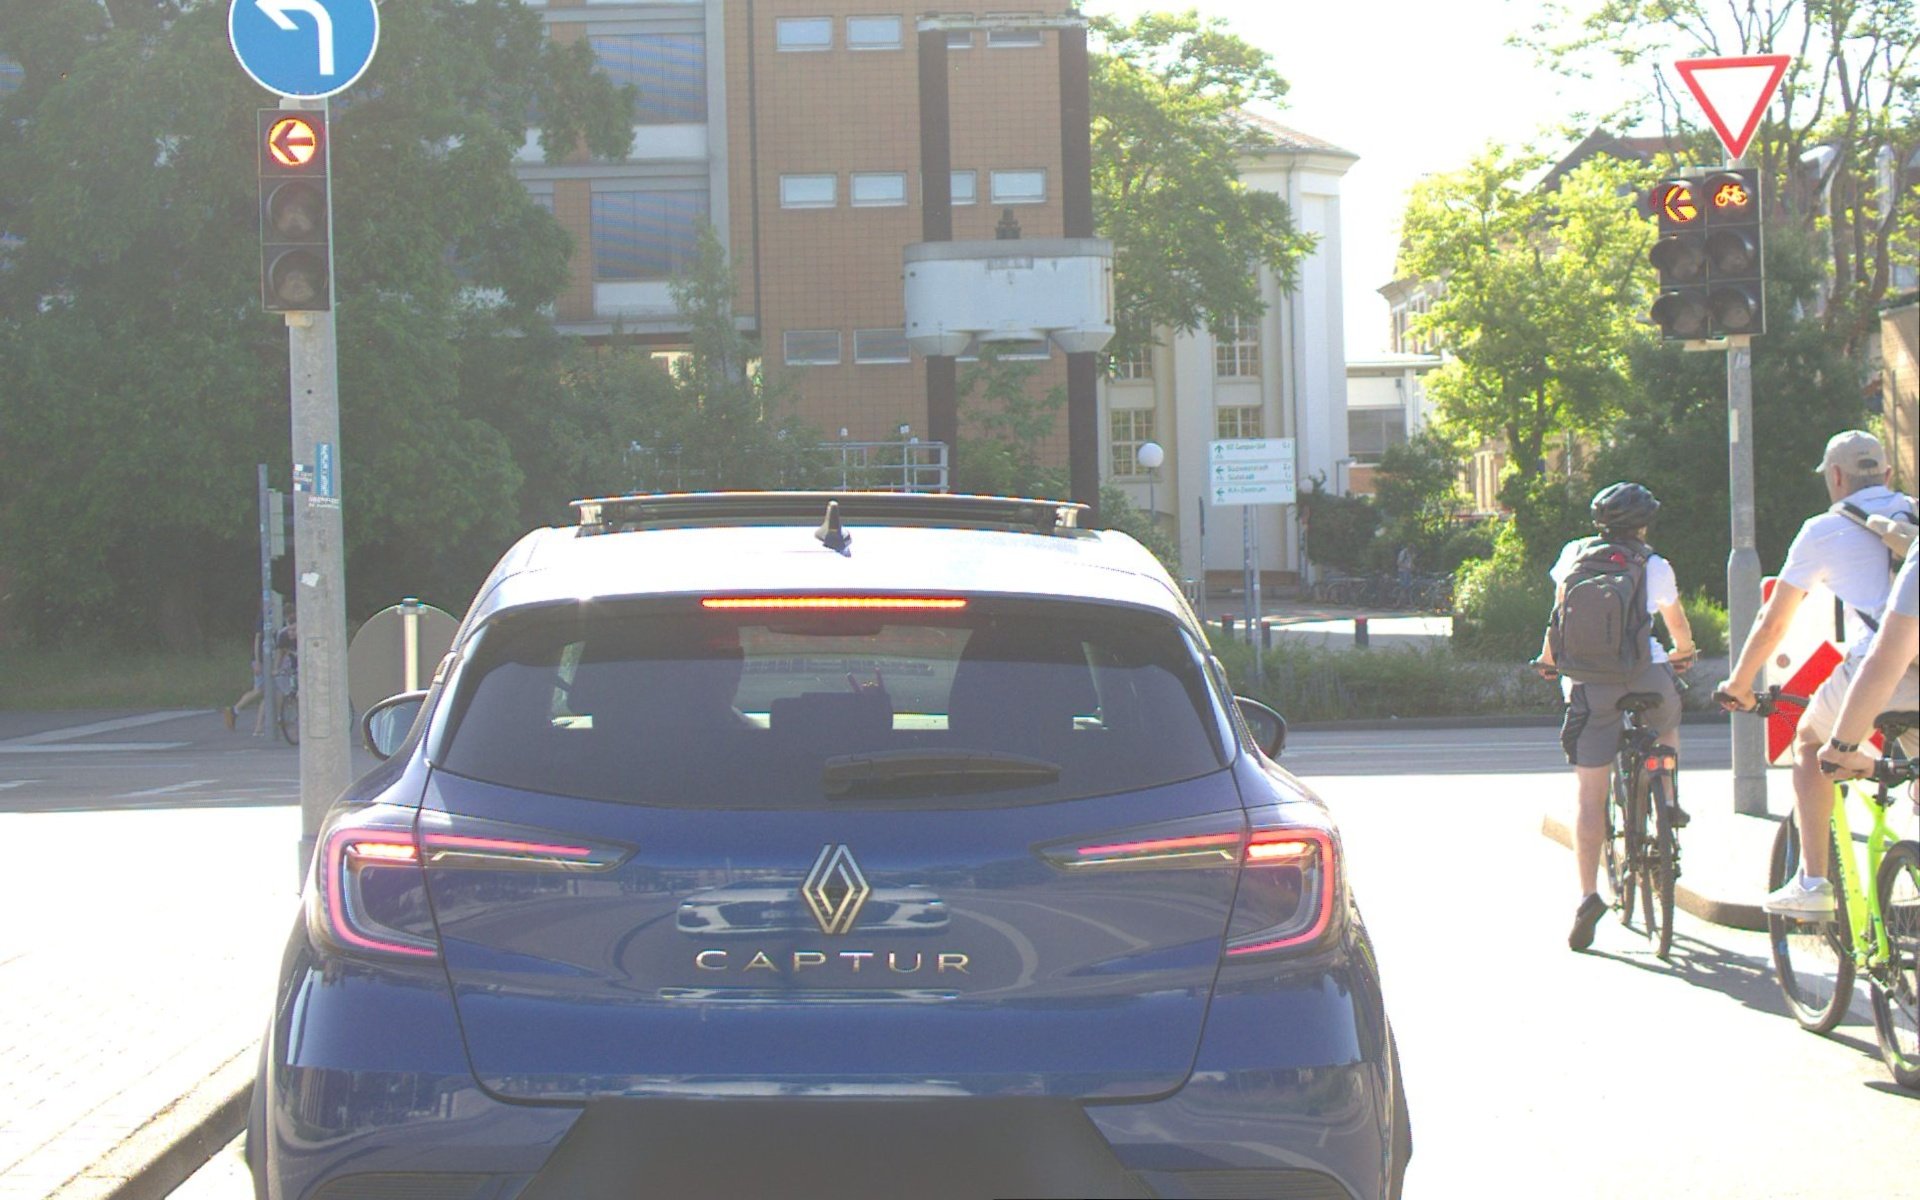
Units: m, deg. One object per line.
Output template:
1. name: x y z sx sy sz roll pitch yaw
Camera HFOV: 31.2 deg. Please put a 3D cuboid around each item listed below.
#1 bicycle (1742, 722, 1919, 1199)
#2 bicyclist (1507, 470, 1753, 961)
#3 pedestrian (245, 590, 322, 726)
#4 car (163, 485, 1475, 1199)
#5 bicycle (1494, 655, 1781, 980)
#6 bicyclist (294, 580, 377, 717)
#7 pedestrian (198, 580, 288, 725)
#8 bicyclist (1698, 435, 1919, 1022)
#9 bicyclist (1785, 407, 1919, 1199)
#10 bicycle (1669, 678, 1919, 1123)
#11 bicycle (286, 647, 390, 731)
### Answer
1. bicycle: 2.225 0.847 7.263 0.689 1.085 1.922 0 1 -1
2. bicyclist: 2.522 0.413 13.055 0.699 1.785 1.142 0 1 -1
3. pedestrian: -8.724 0.739 44.350 0.681 1.724 0.760 -1 1 13
4. car: -0.270 0.611 6.652 1.788 1.580 3.915 0 1 -2
5. bicycle: 2.530 0.780 13.051 0.689 1.085 1.922 0 1 -1
6. bicyclist: -7.934 0.608 43.708 0.755 1.710 0.998 -1 1 5
7. pedestrian: -9.410 0.680 45.146 0.814 1.856 0.909 -1 1 13
8. bicyclist: 2.595 0.341 9.888 0.678 1.589 1.142 0 1 -1
9. bicyclist: 2.229 0.506 7.266 0.683 1.785 1.142 0 1 -1
10. bicycle: 2.587 0.800 9.860 0.689 1.085 1.922 0 1 -1
11. bicycle: -7.913 1.120 43.821 0.755 0.981 2.093 -1 1 5
